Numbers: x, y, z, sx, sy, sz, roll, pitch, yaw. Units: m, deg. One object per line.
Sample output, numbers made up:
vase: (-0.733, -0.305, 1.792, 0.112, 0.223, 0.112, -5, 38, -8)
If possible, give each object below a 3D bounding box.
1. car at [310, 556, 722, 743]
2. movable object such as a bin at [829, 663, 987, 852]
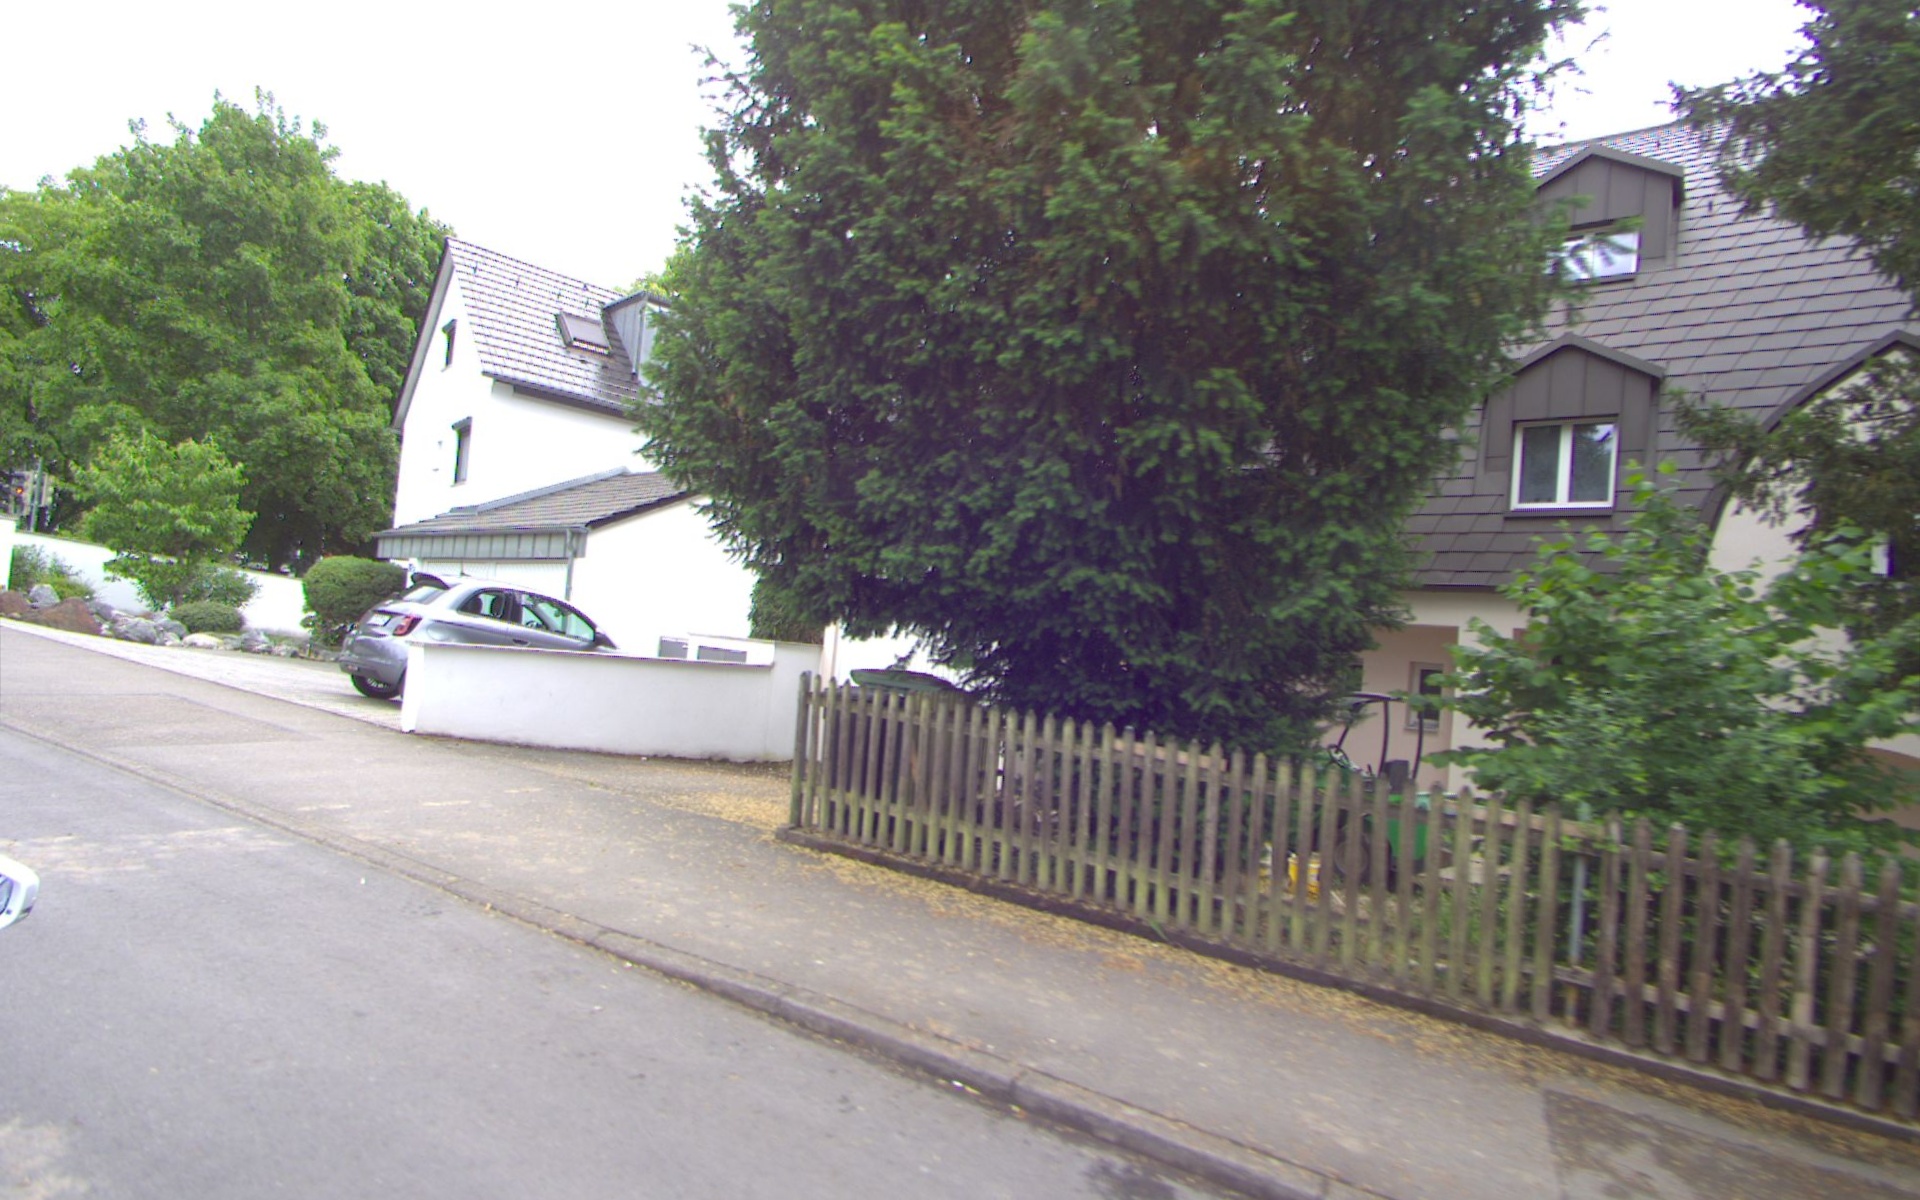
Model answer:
car: (-5.126, 0.667, 12.036, 1.765, 1.485, 3.990, 4, -9, 43)
movable object such as a bin: (-0.347, 1.120, 7.138, 0.752, 1.164, 0.694, 6, -8, 19)
